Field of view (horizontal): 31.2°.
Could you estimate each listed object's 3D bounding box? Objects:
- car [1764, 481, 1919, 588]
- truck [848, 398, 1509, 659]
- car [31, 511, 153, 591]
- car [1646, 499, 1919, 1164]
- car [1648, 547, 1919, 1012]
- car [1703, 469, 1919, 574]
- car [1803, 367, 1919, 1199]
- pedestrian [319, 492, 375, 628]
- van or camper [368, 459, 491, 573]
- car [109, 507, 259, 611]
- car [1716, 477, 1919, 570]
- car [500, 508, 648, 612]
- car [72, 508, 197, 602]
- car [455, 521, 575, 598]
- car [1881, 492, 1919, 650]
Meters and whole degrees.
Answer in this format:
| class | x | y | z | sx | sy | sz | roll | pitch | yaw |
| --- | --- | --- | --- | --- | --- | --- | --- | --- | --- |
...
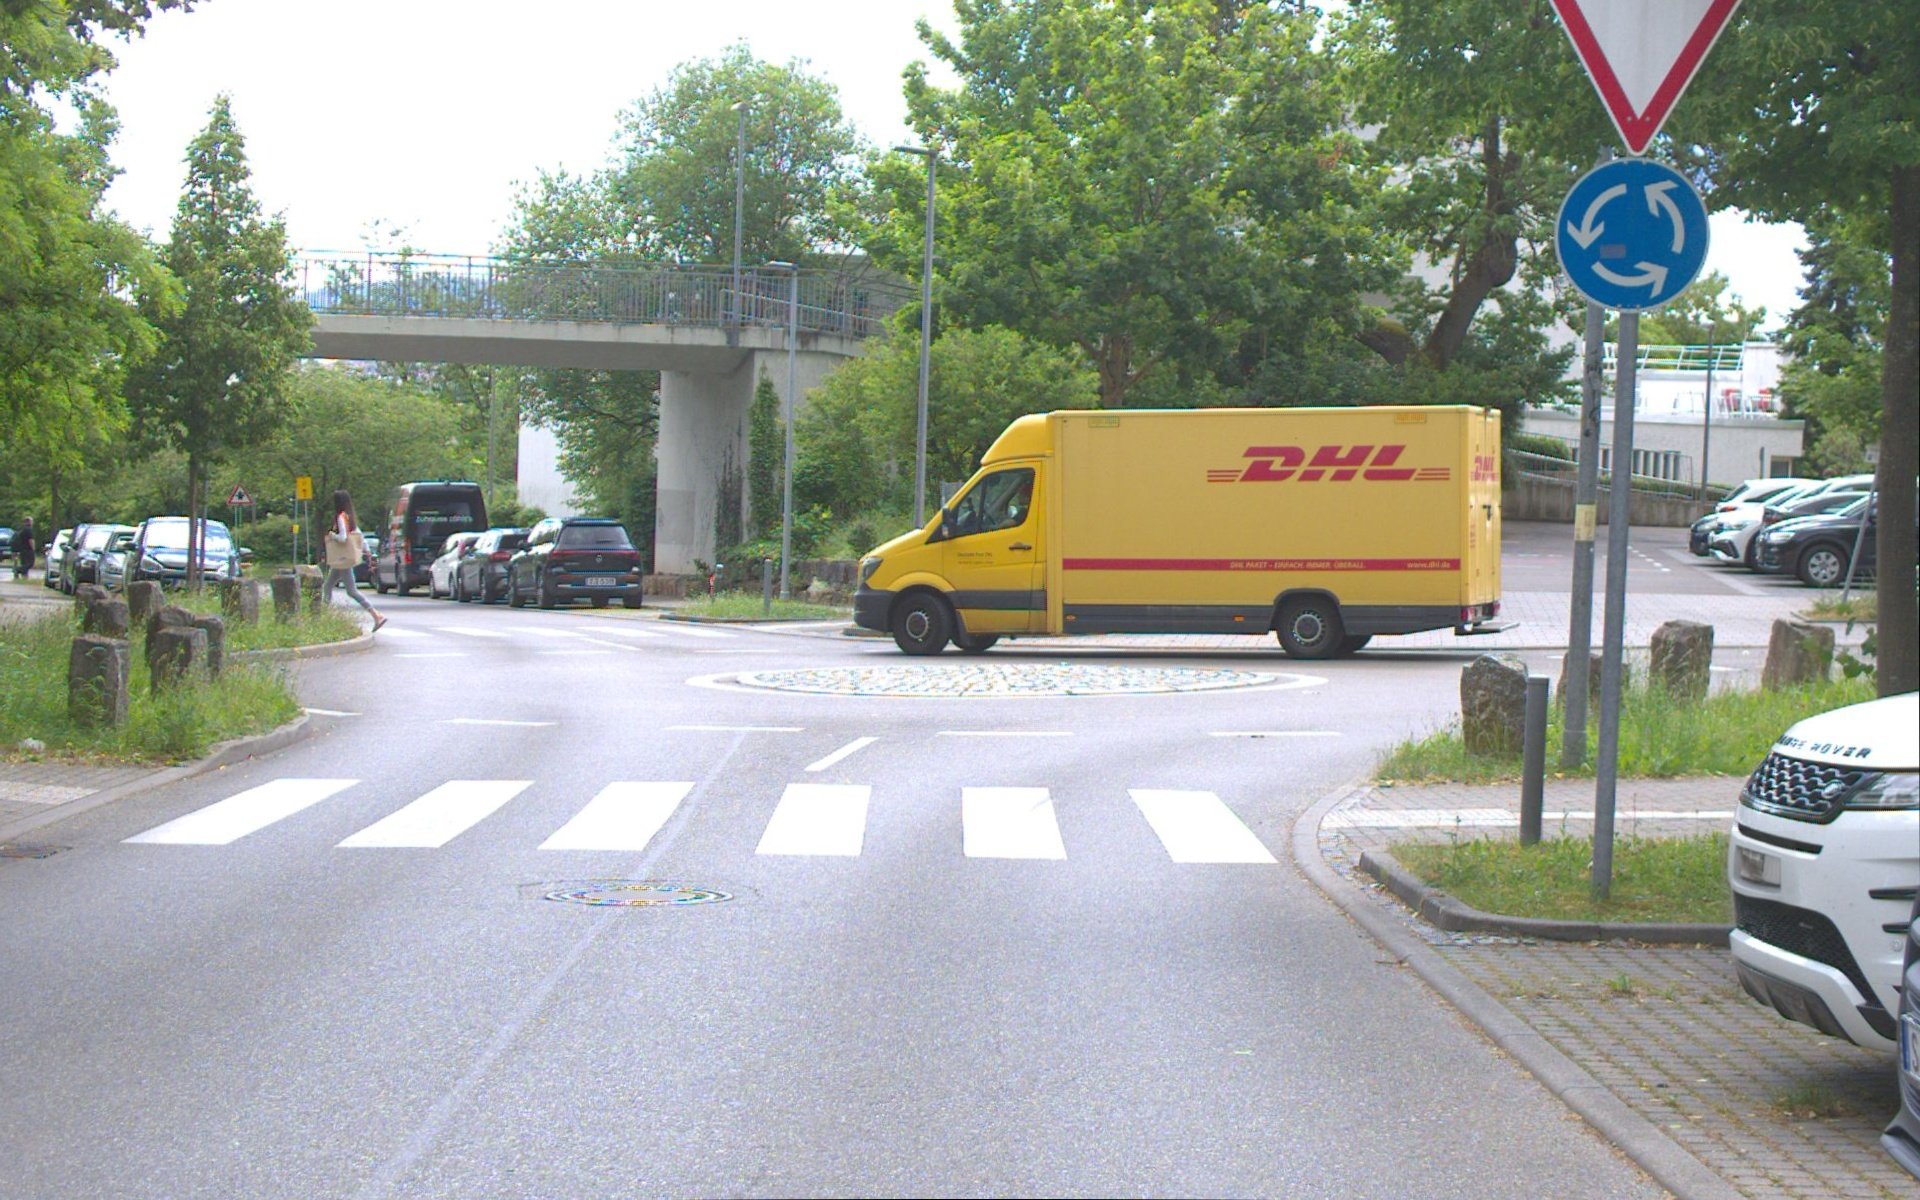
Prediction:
| class | x | y | z | sx | sy | sz | roll | pitch | yaw |
| --- | --- | --- | --- | --- | --- | --- | --- | --- | --- |
| car | 14.210 | -0.952 | 51.583 | 4.043 | 1.512 | 1.755 | 2 | 2 | 10 |
| truck | 2.408 | -0.772 | 37.725 | 6.808 | 2.693 | 2.472 | 0 | 2 | 19 |
| car | -17.522 | -0.987 | 69.282 | 1.884 | 1.504 | 4.454 | 1 | 0 | -20 |
| car | 4.121 | 0.597 | 9.190 | 4.150 | 1.597 | 1.739 | 2 | 2 | -1 |
| car | 4.372 | 0.575 | 11.870 | 3.510 | 1.456 | 1.739 | 1 | 0 | -8 |
| car | 14.430 | -1.285 | 56.514 | 4.120 | 1.588 | 1.692 | 2 | 2 | 6 |
| car | 4.212 | 0.455 | 6.490 | 4.773 | 1.825 | 1.843 | 0 | 1 | -1 |
| pedestrian | -7.883 | -0.523 | 44.193 | 0.657 | 1.716 | 0.740 | 2 | 2 | -11 |
| van or camper | -12.312 | -1.913 | 79.594 | 1.993 | 2.514 | 5.472 | -2 | 1 | -17 |
| car | -12.054 | -0.658 | 53.235 | 1.785 | 1.463 | 4.002 | 1 | 2 | -19 |
| car | 15.538 | -1.361 | 61.201 | 3.983 | 1.512 | 1.756 | 2 | 2 | 12 |
| car | -7.060 | -0.694 | 62.546 | 1.813 | 1.673 | 4.371 | 0 | -2 | -18 |
| car | -14.080 | -0.787 | 58.515 | 1.884 | 1.455 | 3.548 | 1 | 2 | -16 |
| car | -8.912 | -0.810 | 68.642 | 1.699 | 1.491 | 4.120 | 0 | 1 | -17 |
| car | 11.773 | -0.310 | 35.640 | 3.996 | 1.612 | 1.722 | 0 | 1 | 1 |
